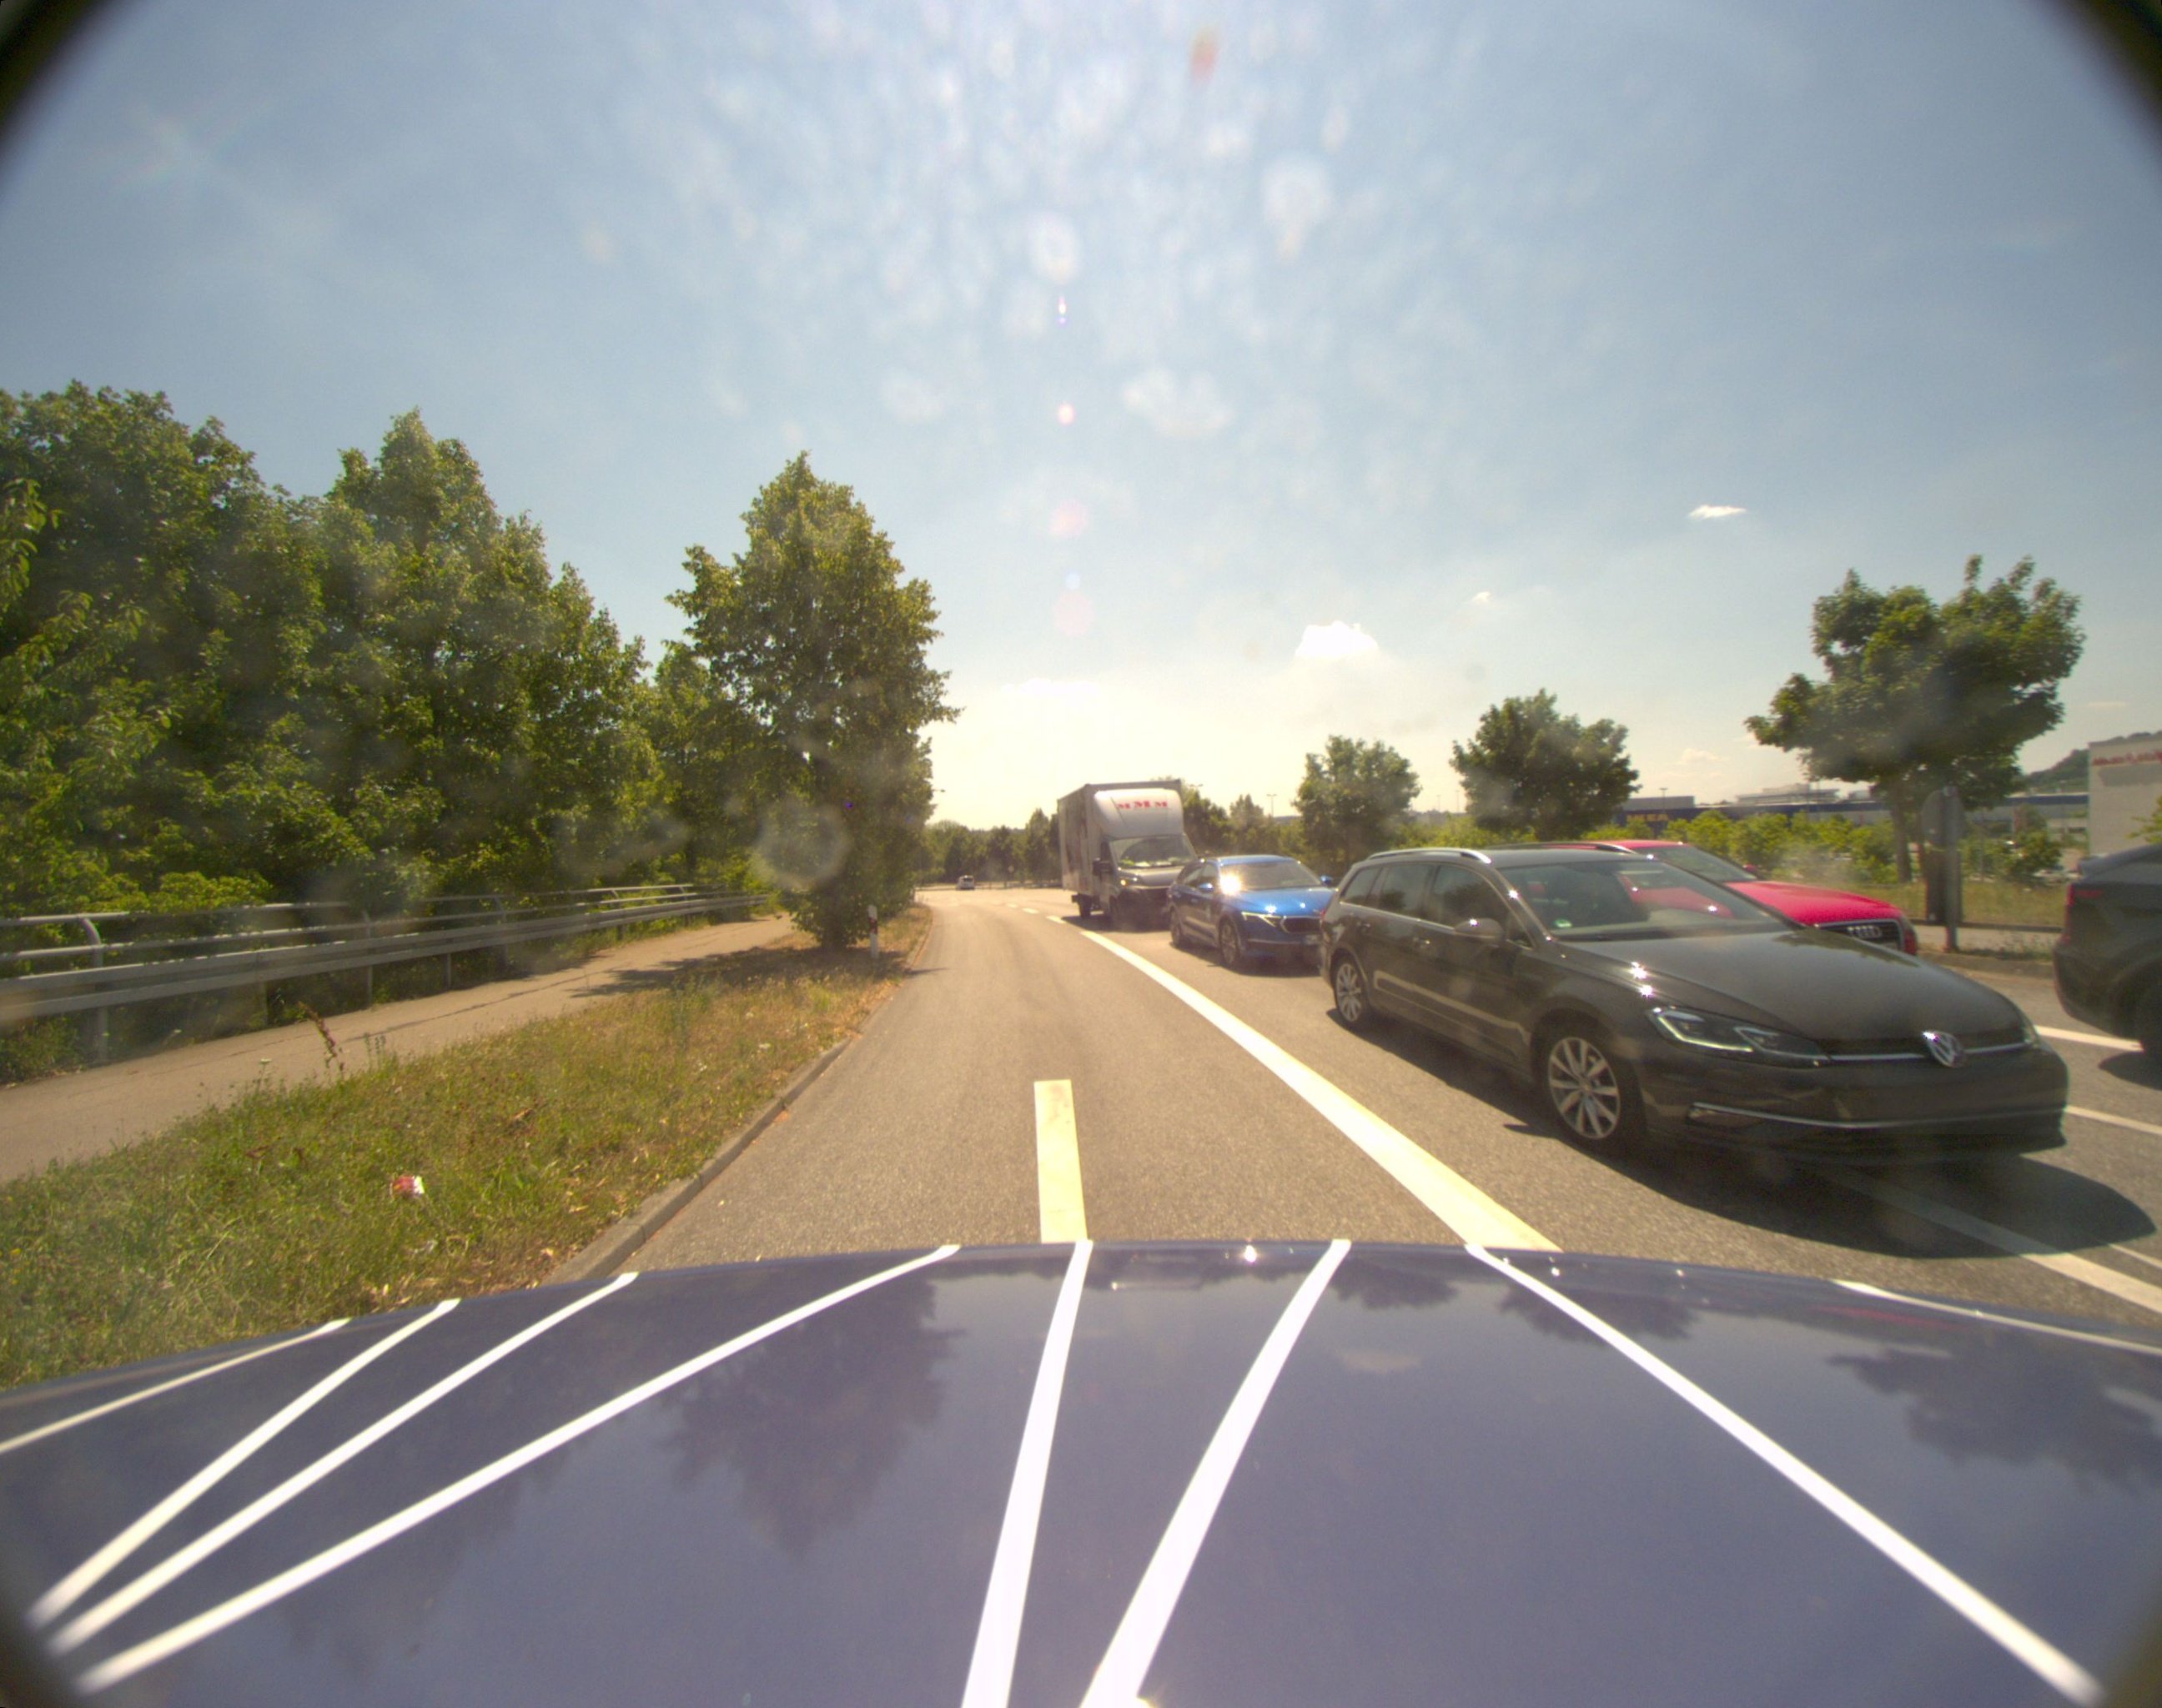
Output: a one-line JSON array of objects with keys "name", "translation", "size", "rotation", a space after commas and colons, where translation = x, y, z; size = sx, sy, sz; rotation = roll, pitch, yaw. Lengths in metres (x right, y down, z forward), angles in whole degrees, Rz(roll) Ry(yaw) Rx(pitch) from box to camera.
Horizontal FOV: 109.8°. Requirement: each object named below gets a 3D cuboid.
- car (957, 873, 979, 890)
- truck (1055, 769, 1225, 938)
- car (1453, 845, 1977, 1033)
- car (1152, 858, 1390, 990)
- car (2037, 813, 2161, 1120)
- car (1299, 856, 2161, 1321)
[{"name": "car", "translation": [-14.299, 3.440, 96.204], "size": [2.001, 1.949, 3.994], "rotation": [-2, 1, -18]}, {"name": "truck", "translation": [1.098, 0.039, 18.961], "size": [2.416, 3.327, 7.198], "rotation": [-3, -1, -9]}, {"name": "car", "translation": [6.117, 0.642, 8.209], "size": [1.665, 1.380, 4.447], "rotation": [-3, 1, -5]}, {"name": "car", "translation": [2.470, 0.843, 11.162], "size": [1.713, 1.454, 4.486], "rotation": [-3, 0, -9]}, {"name": "car", "translation": [6.688, 0.571, 2.254], "size": [1.880, 1.592, 4.503], "rotation": [-2, 1, -5]}, {"name": "car", "translation": [3.076, 0.798, 4.832], "size": [1.783, 1.474, 4.427], "rotation": [-2, 0, -4]}]
